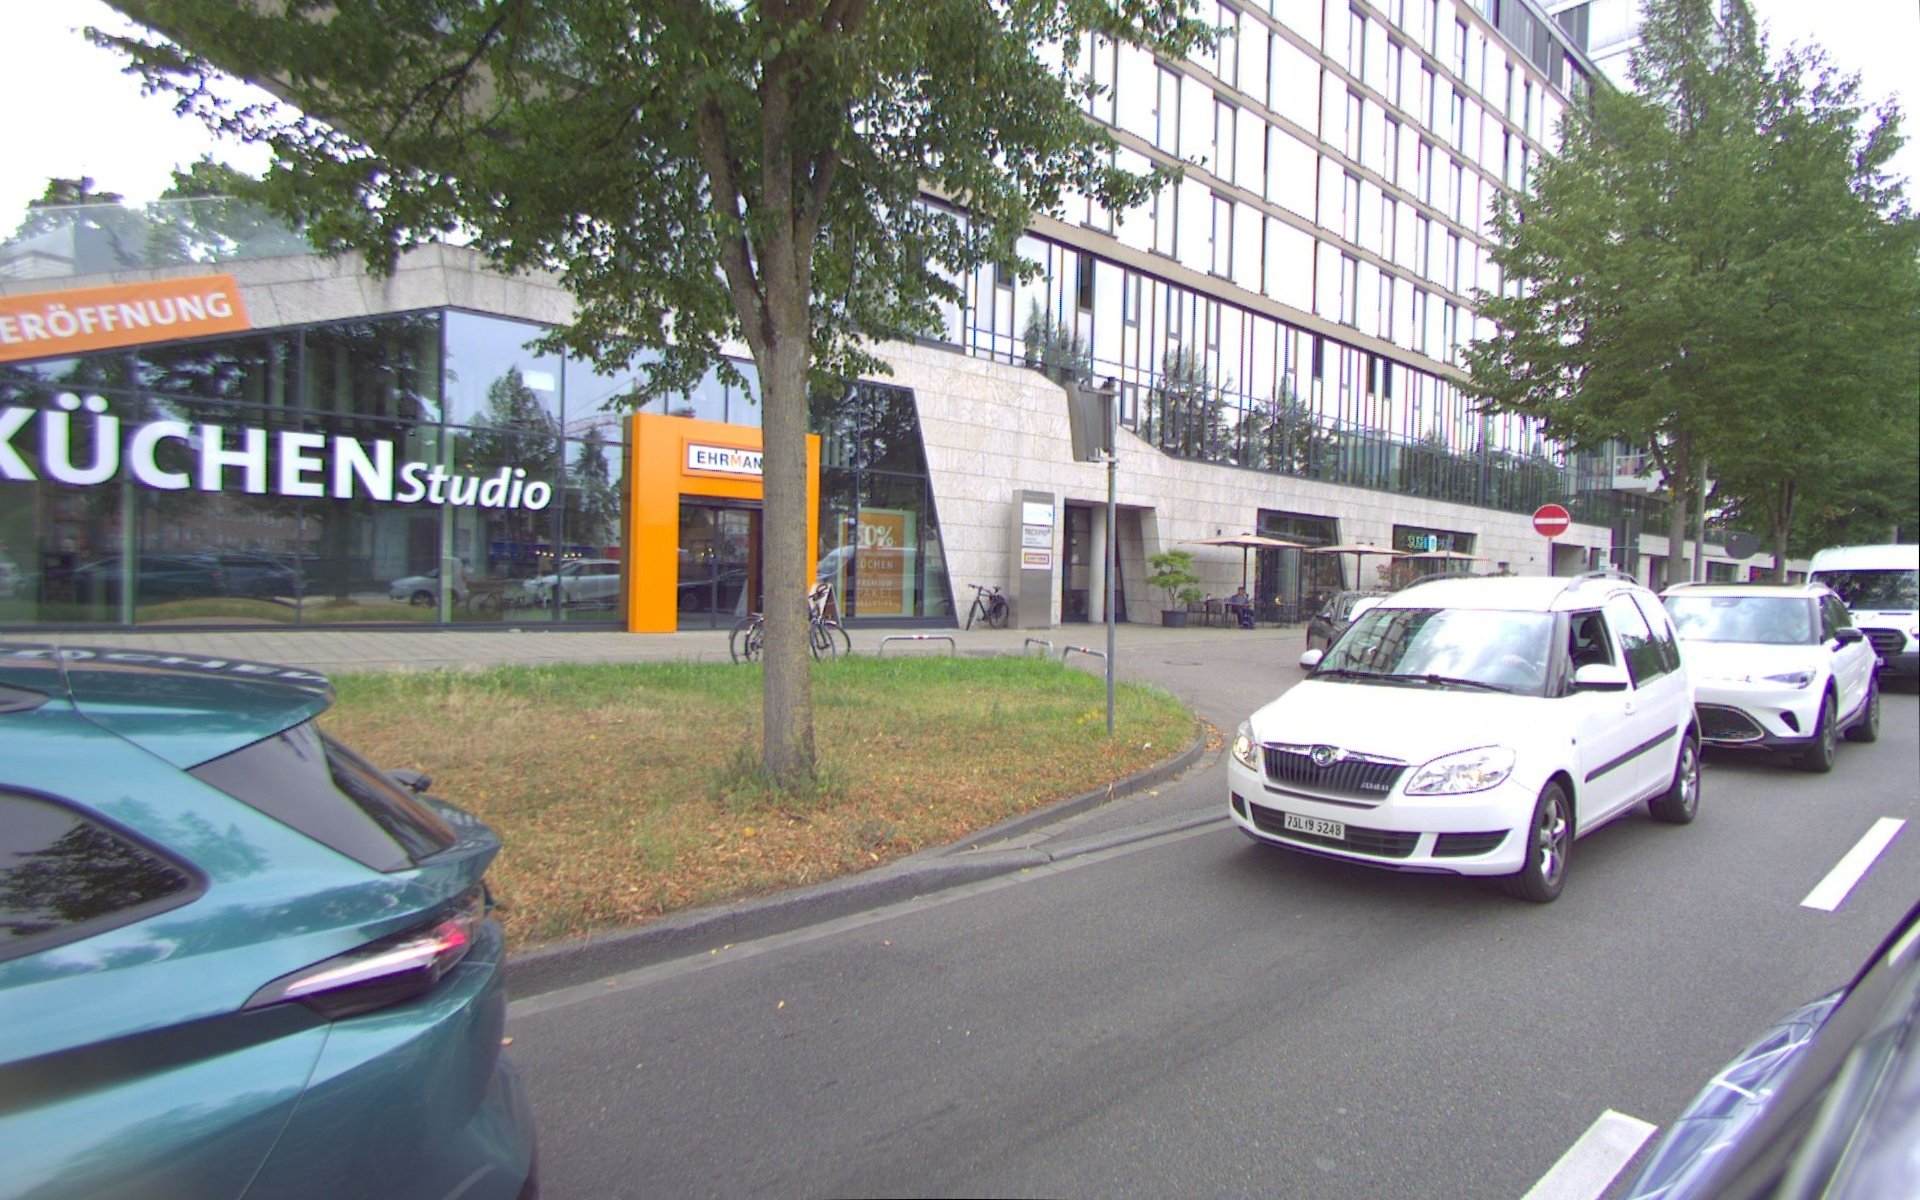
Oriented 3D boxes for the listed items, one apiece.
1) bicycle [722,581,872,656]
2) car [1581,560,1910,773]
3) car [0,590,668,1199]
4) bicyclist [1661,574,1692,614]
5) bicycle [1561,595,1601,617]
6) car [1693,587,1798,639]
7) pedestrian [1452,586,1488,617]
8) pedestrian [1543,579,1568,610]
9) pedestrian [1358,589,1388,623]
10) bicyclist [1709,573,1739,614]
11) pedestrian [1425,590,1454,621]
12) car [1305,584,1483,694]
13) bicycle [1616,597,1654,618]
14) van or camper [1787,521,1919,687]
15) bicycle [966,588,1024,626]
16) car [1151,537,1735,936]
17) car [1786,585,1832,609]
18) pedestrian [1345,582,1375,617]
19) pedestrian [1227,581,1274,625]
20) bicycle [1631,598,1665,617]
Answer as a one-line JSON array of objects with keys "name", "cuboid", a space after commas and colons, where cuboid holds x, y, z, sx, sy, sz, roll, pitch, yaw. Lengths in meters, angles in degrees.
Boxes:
[{"name": "bicycle", "cuboid": [-2.231, 0.236, 14.087, 0.630, 0.968, 2.074, 2, 2, 44]}, {"name": "car", "cuboid": [7.826, 0.504, 9.955, 3.952, 1.677, 1.782, 0, 2, -41]}, {"name": "car", "cuboid": [-2.625, 0.707, 0.856, 4.239, 1.450, 1.789, 0, 0, -44]}, {"name": "bicyclist", "cuboid": [29.363, -0.237, 41.458, 0.971, 1.601, 0.727, 0, 3, -38]}, {"name": "bicycle", "cuboid": [31.181, 0.302, 50.830, 1.584, 1.039, 0.606, 3, 2, 23]}, {"name": "car", "cuboid": [26.039, 0.414, 33.497, 4.514, 1.571, 1.941, 1, 1, -42]}, {"name": "pedestrian", "cuboid": [20.584, 0.053, 40.823, 1.083, 1.207, 0.776, 1, 1, -26]}, {"name": "pedestrian", "cuboid": [28.312, -0.272, 48.095, 0.707, 1.424, 0.759, 1, 1, -33]}, {"name": "pedestrian", "cuboid": [15.068, 0.219, 36.934, 0.745, 1.207, 0.720, 1, 1, -39]}, {"name": "bicyclist", "cuboid": [30.454, -0.274, 40.333, 0.973, 1.601, 0.725, 0, 3, -44]}, {"name": "pedestrian", "cuboid": [19.133, 0.218, 40.380, 0.743, 1.207, 0.723, 1, 1, -19]}, {"name": "car", "cuboid": [7.010, 0.512, 16.882, 1.919, 1.494, 4.850, 2, 1, 14]}, {"name": "bicycle", "cuboid": [36.814, 0.385, 55.219, 0.524, 1.039, 1.599, 0, 2, -43]}, {"name": "van or camper", "cuboid": [16.627, 0.062, 17.902, 6.230, 2.540, 2.181, 0, 0, -42]}, {"name": "bicycle", "cuboid": [0.883, 0.167, 25.132, 1.467, 0.921, 0.519, 0, 1, -41]}, {"name": "car", "cuboid": [3.148, 0.550, 6.227, 3.952, 1.677, 1.782, 0, 2, -41]}, {"name": "car", "cuboid": [61.828, -0.196, 73.660, 4.166, 1.607, 1.862, 0, 4, -41]}, {"name": "pedestrian", "cuboid": [14.348, -0.029, 36.304, 0.746, 1.207, 0.720, 1, 1, -42]}, {"name": "pedestrian", "cuboid": [8.535, 0.073, 29.753, 0.932, 1.243, 0.900, 1, 1, -36]}, {"name": "bicycle", "cuboid": [39.457, 0.427, 58.029, 0.524, 1.039, 1.530, 0, 2, -43]}]
